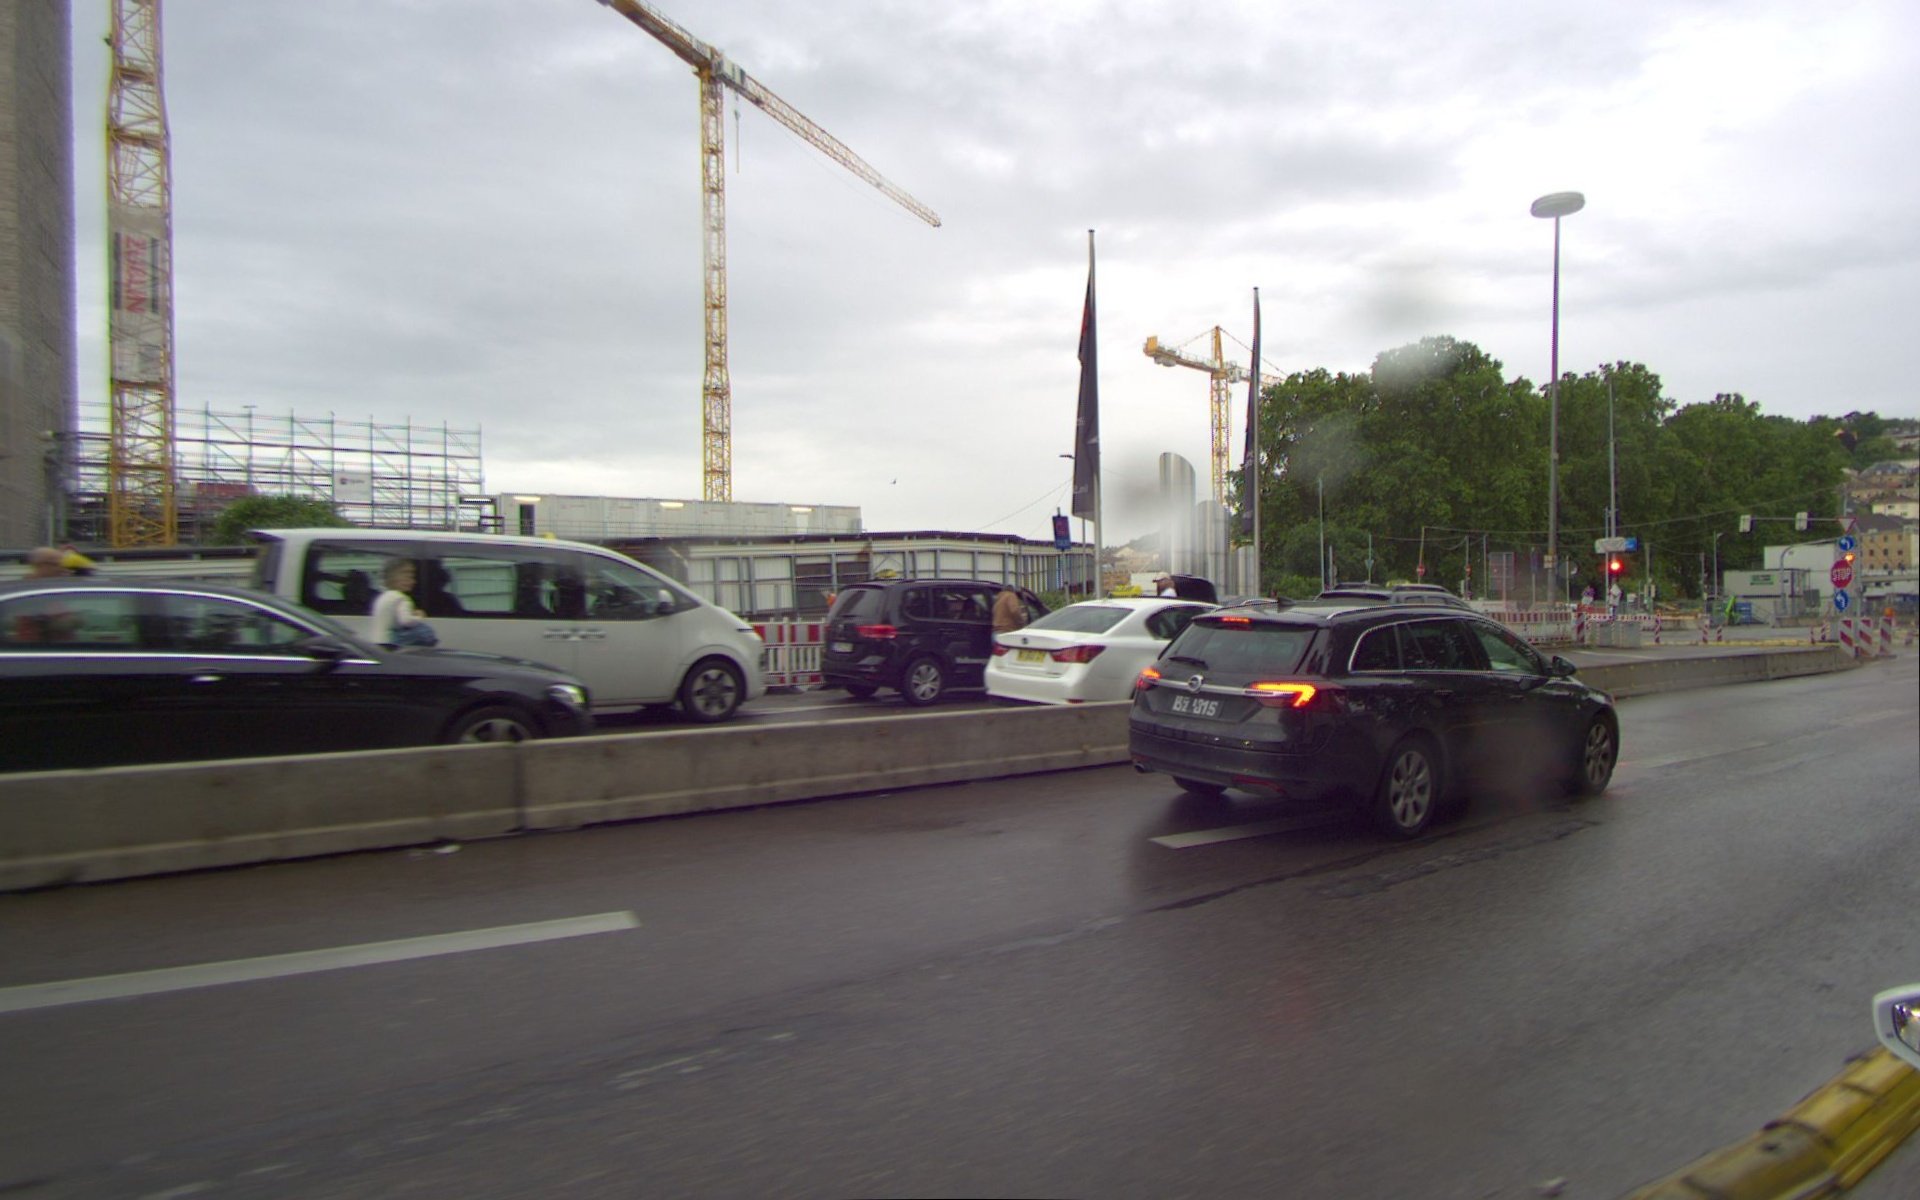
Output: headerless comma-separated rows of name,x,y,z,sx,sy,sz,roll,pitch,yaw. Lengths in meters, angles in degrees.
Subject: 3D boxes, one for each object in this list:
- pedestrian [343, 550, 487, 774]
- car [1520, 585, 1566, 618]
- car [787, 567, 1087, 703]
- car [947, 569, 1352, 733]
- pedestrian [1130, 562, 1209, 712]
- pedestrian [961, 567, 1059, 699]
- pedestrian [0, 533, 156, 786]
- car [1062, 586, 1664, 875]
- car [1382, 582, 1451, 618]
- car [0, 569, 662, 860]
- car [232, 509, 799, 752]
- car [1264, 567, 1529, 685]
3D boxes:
pedestrian,-4.701,0.492,8.687,1.015,1.807,0.830,-1,1,-30
car,44.835,0.114,77.241,4.485,2.393,1.897,0,-2,-45
car,-0.243,0.399,14.156,4.017,1.651,1.702,-1,1,-37
car,2.383,0.508,11.990,4.828,1.588,1.980,-1,-2,-36
pedestrian,2.953,0.504,14.250,0.820,2.040,1.027,-1,1,-4
pedestrian,0.665,0.418,13.521,1.015,1.705,0.830,-1,1,-30
pedestrian,-6.493,0.397,7.292,0.826,1.697,1.020,-1,1,-29
car,3.199,0.684,7.523,4.802,1.528,1.866,-1,0,-35
car,37.475,-0.010,82.394,5.725,2.737,2.371,-1,-1,-32
car,-4.749,0.586,6.693,4.957,1.531,1.959,0,1,-36
car,-4.571,0.234,10.854,5.319,2.041,1.979,0,1,-37
car,6.694,0.361,15.250,4.116,1.550,1.978,0,-2,-39
